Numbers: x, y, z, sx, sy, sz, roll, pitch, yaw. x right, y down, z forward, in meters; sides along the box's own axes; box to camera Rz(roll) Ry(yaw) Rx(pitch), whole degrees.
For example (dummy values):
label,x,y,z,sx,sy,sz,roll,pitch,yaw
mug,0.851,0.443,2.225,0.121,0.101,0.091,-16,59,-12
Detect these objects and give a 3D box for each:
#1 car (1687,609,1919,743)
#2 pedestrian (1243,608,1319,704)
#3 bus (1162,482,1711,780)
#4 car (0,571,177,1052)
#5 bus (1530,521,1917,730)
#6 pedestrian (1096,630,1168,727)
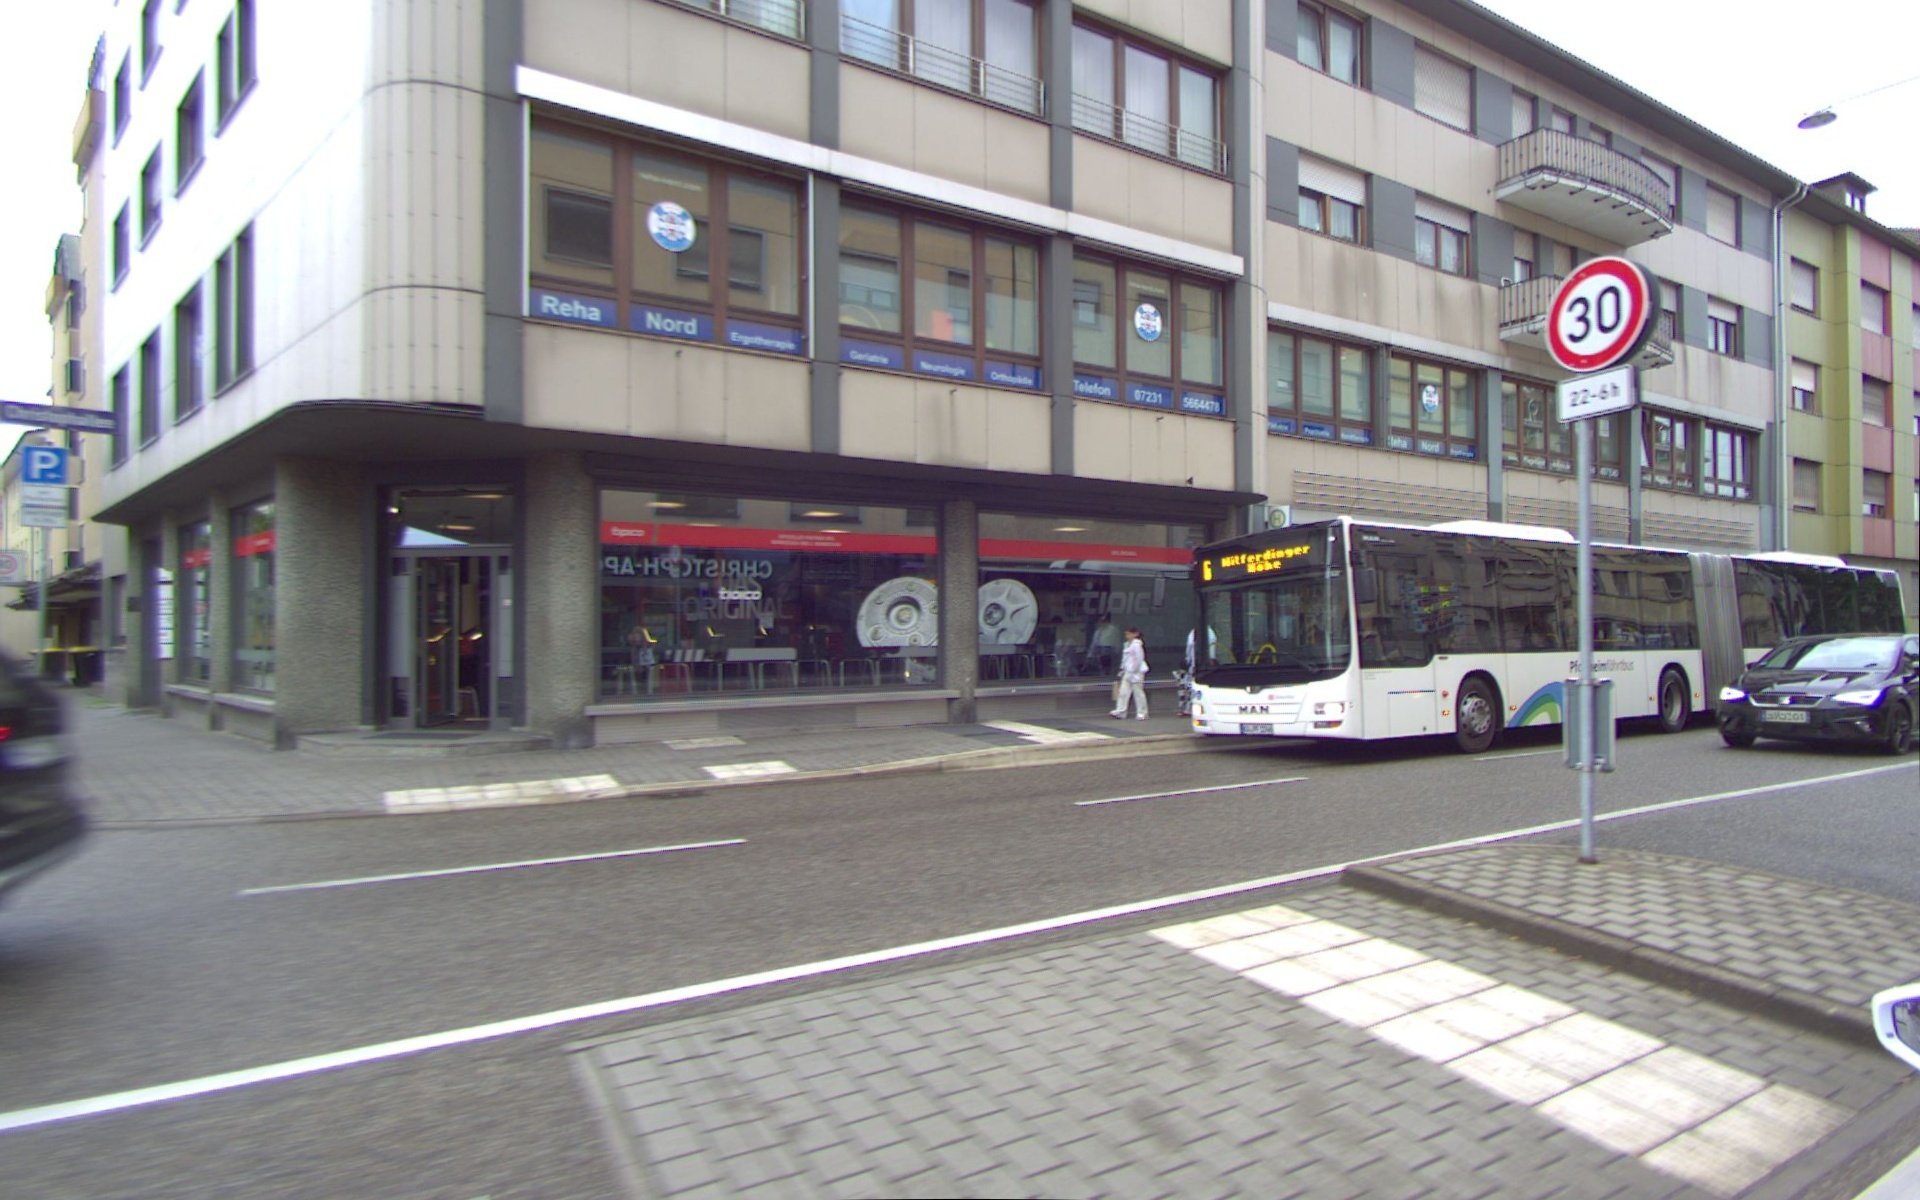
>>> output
label,x,y,z,sx,sy,sz,roll,pitch,yaw
car,11.255,0.878,12.923,4.040,1.470,1.699,0,-2,-32
pedestrian,5.559,0.952,17.403,0.824,1.610,0.941,0,-1,-28
bus,7.132,0.402,14.394,8.810,3.230,2.745,0,-2,-32
car,-5.606,0.798,3.390,4.359,1.684,1.737,-1,-1,-26
bus,14.758,0.465,19.106,9.187,3.230,2.712,0,-2,-32
pedestrian,2.611,1.173,15.309,0.777,1.414,0.765,0,-1,-29
